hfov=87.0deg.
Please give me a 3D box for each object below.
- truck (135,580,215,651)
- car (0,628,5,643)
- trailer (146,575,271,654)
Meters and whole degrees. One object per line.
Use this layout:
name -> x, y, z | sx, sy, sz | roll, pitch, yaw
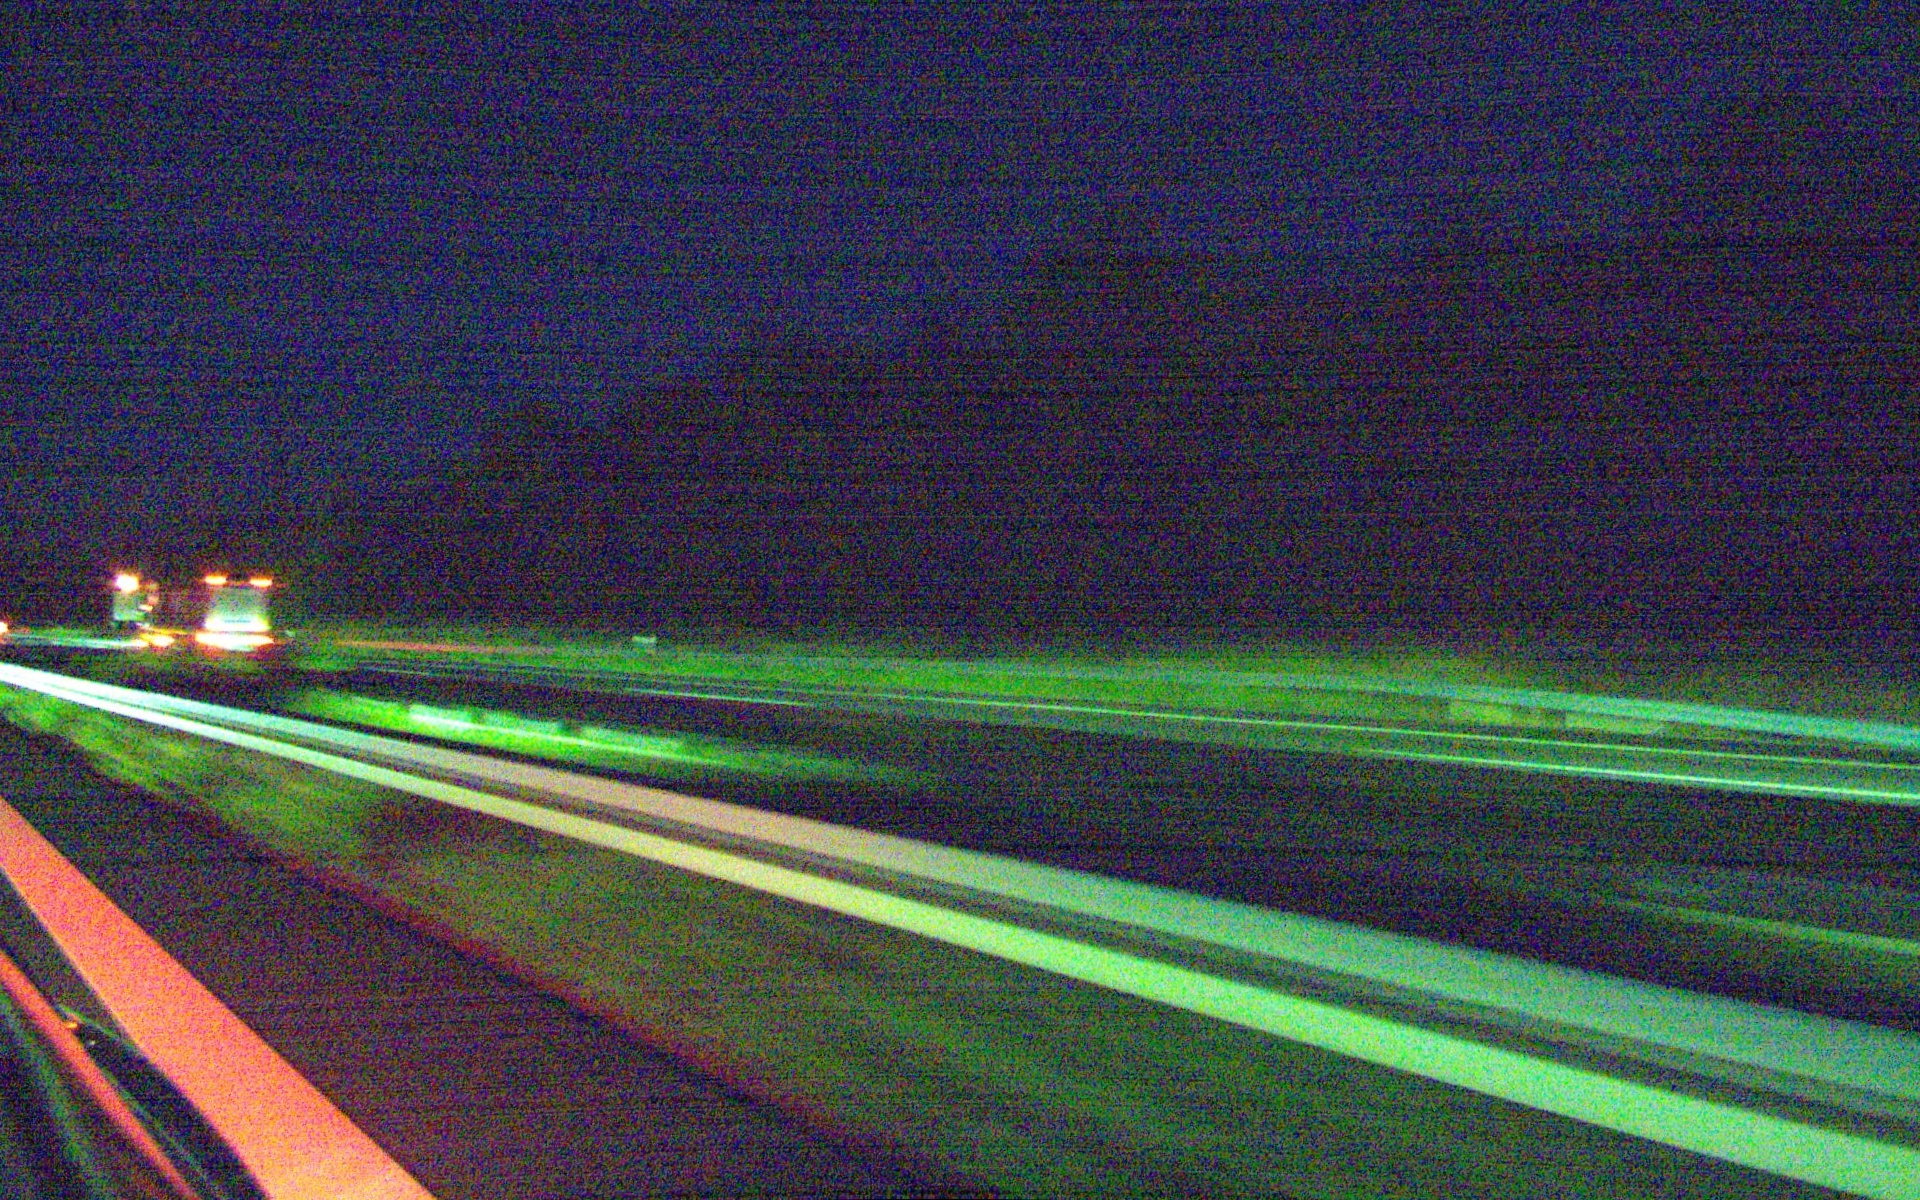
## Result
truck -> -49.726, 1.016, 64.066 | 5.822, 4.244, 2.725 | -1, -3, 41
car -> -95.296, 3.449, 99.001 | 4.686, 1.472, 1.974 | -1, -3, 39
trailer -> -44.532, 0.928, 59.684 | 13.896, 4.208, 2.830 | -1, -3, 41
